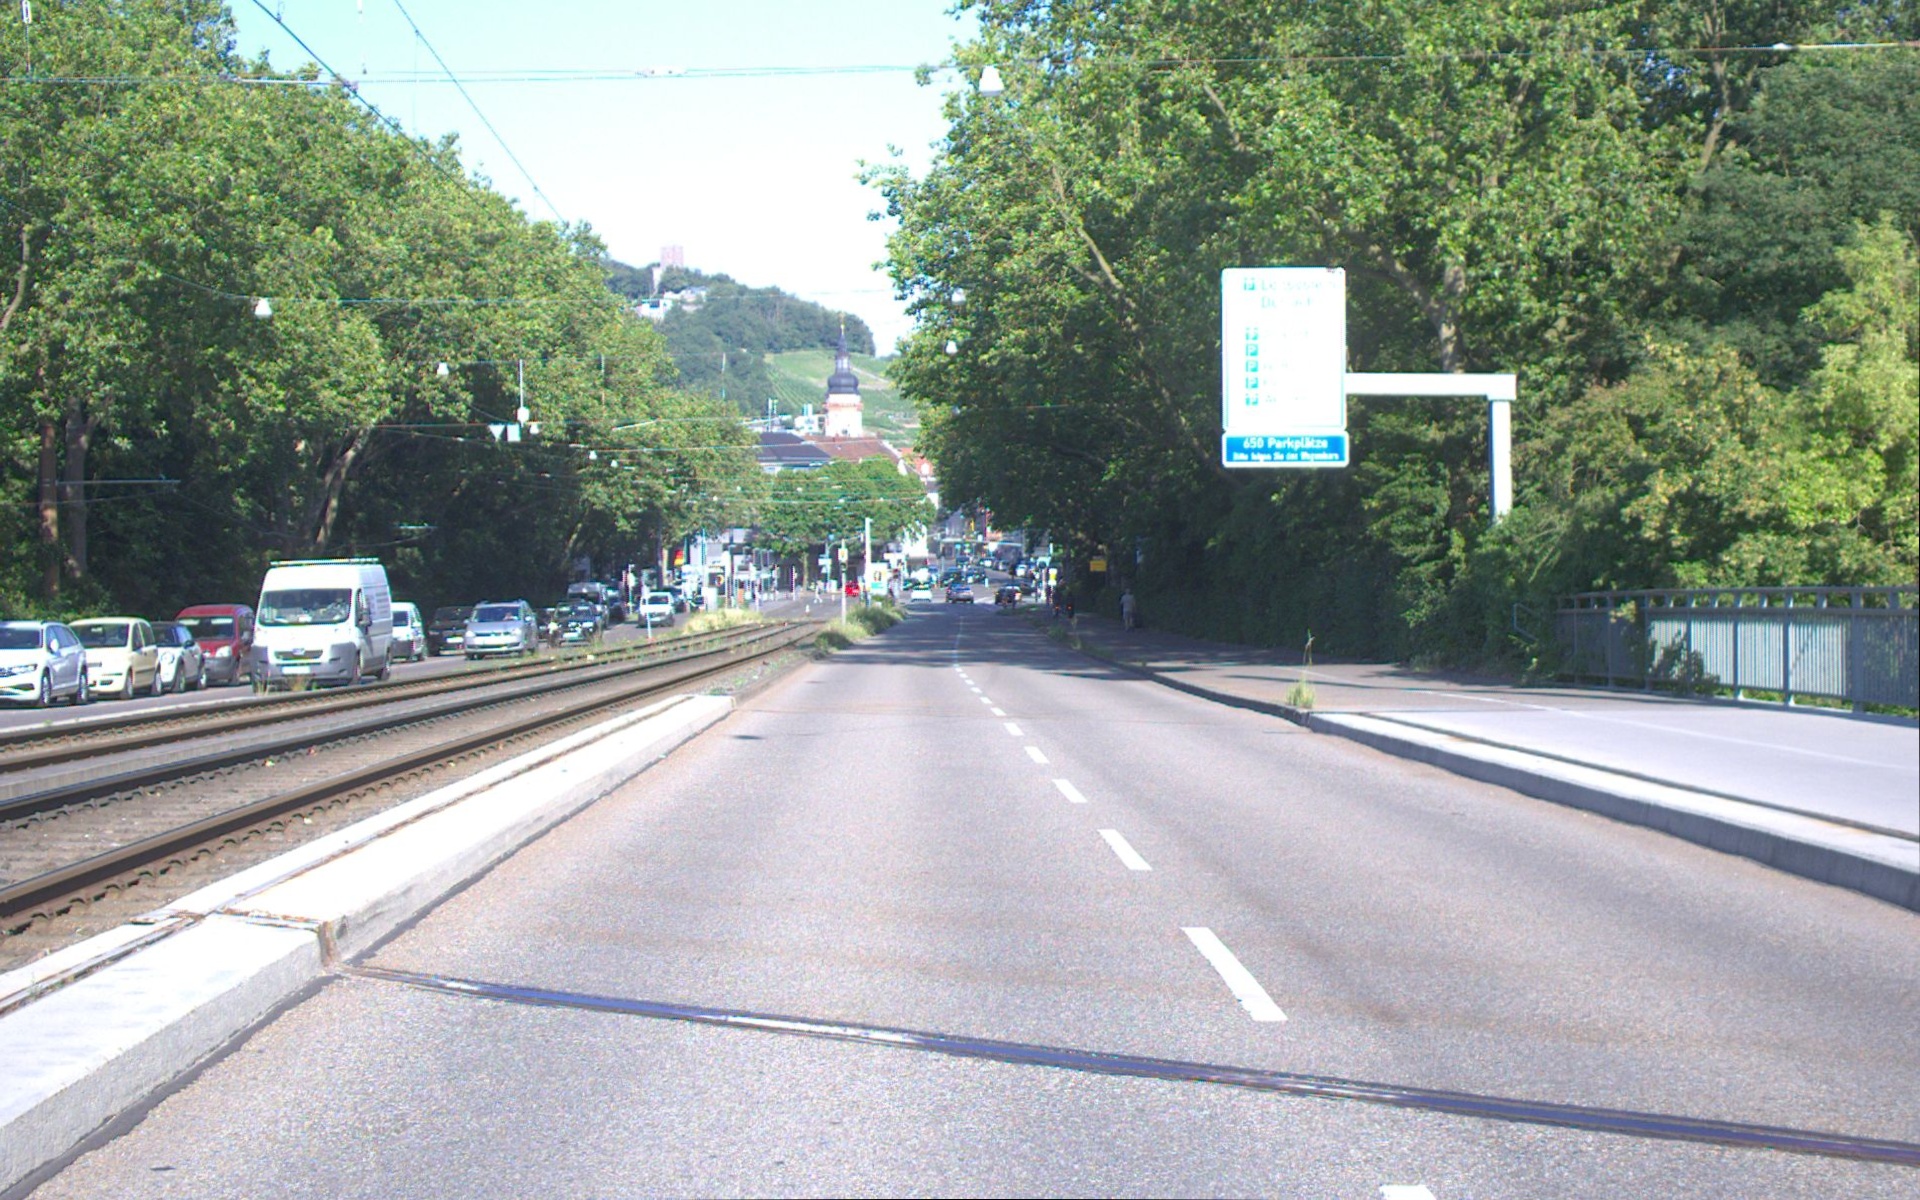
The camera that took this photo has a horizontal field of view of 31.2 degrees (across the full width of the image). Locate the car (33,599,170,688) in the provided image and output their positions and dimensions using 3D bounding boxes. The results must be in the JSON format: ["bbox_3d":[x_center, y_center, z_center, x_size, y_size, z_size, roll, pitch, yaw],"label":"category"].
[{"bbox_3d":[-15.901,0.785,63.833,1.633,1.526,3.790,-1,1,-1],"label":"car"}]

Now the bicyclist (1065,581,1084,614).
[{"bbox_3d":[5.841,-0.133,174.890,0.887,1.633,1.164,-1,0,0],"label":"bicyclist"}]

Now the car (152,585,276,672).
[{"bbox_3d":[-16.140,0.587,74.590,1.741,1.748,4.684,-1,1,-1],"label":"car"}]

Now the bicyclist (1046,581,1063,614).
[{"bbox_3d":[5.107,-0.138,186.032,0.887,1.768,1.222,-1,0,1],"label":"bicyclist"}]

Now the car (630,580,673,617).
[{"bbox_3d":[-16.978,-0.090,189.551,1.993,1.838,5.302,-4,1,-3],"label":"car"}]

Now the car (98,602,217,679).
[{"bbox_3d":[-16.115,0.793,69.211,1.633,1.445,4.003,-1,1,-3],"label":"car"}]

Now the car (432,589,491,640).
[{"bbox_3d":[-17.071,0.481,117.900,1.741,1.631,4.001,-2,1,-5],"label":"car"}]

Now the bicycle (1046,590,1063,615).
[{"bbox_3d":[5.111,0.118,186.038,0.887,1.316,2.639,-1,0,0],"label":"bicycle"}]

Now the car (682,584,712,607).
[{"bbox_3d":[-19.721,-0.352,257.853,1.993,1.691,4.745,-1,0,-2],"label":"car"}]

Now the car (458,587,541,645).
[{"bbox_3d":[-13.718,0.454,102.597,1.873,1.660,4.597,0,1,0],"label":"car"}]

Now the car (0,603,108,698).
[{"bbox_3d":[-15.782,0.827,57.967,1.741,1.459,4.956,0,1,-2],"label":"car"}]

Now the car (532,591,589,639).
[{"bbox_3d":[-14.793,0.553,127.467,1.741,1.618,4.395,-3,1,-3],"label":"car"}]

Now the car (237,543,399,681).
[{"bbox_3d":[-12.601,0.183,67.887,2.086,2.584,6.041,-1,1,0],"label":"car"}]

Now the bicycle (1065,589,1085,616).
[{"bbox_3d":[5.853,0.129,174.649,0.887,1.316,2.639,-1,0,0],"label":"bicycle"}]

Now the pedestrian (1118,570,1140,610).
[{"bbox_3d":[6.597,-0.394,134.276,0.804,1.540,0.814,-1,0,3],"label":"pedestrian"}]
